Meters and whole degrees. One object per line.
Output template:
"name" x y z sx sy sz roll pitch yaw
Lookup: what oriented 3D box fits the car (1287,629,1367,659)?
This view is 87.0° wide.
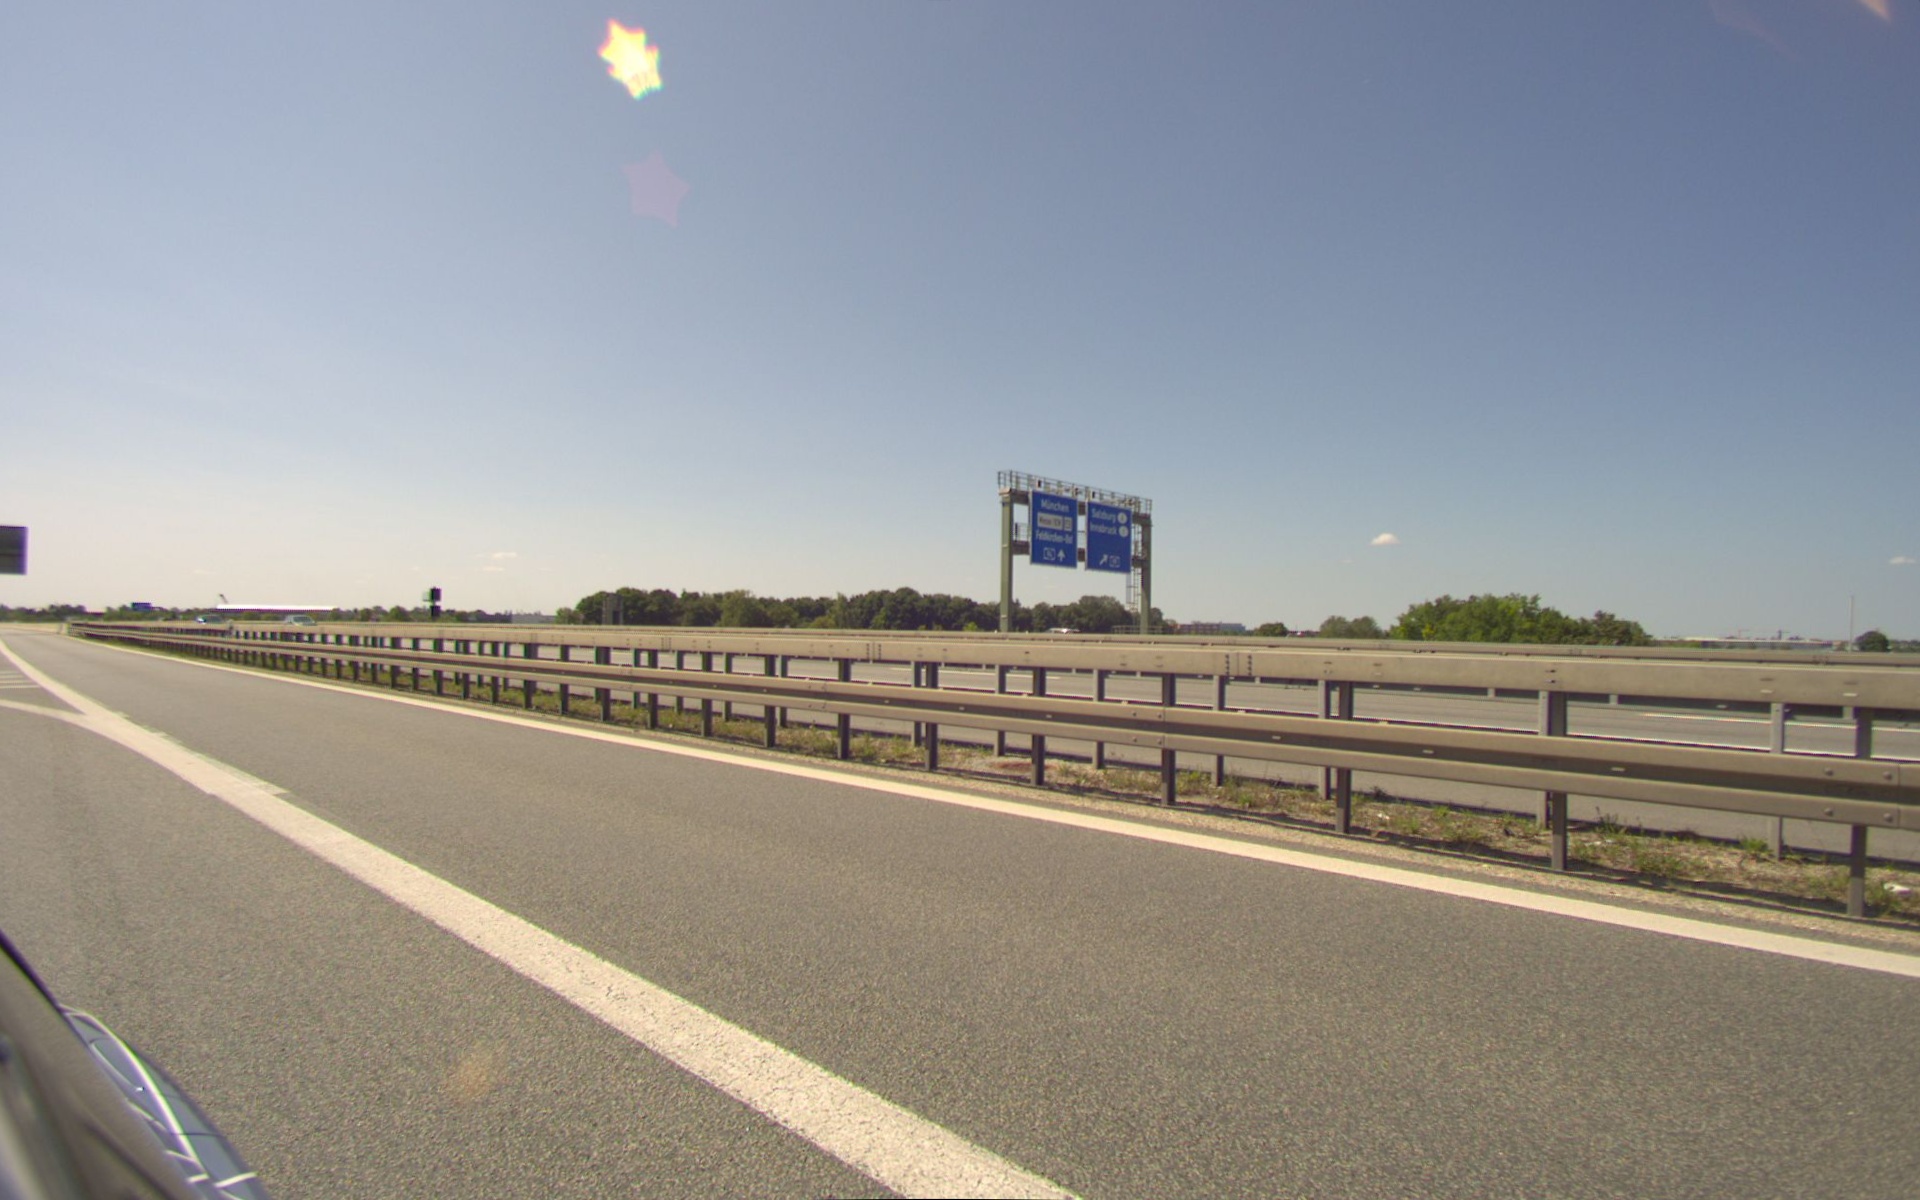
"car" 19.400 2.322 53.574 3.617 1.367 1.605 2 0 44

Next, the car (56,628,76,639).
"car" -136.516 5.129 154.472 4.576 1.529 1.818 -1 -2 43

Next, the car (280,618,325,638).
"car" -48.496 2.035 74.616 4.216 1.433 1.743 -1 -1 43

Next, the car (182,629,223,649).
"car" -58.813 2.986 78.560 4.217 1.443 1.810 -1 -1 43
